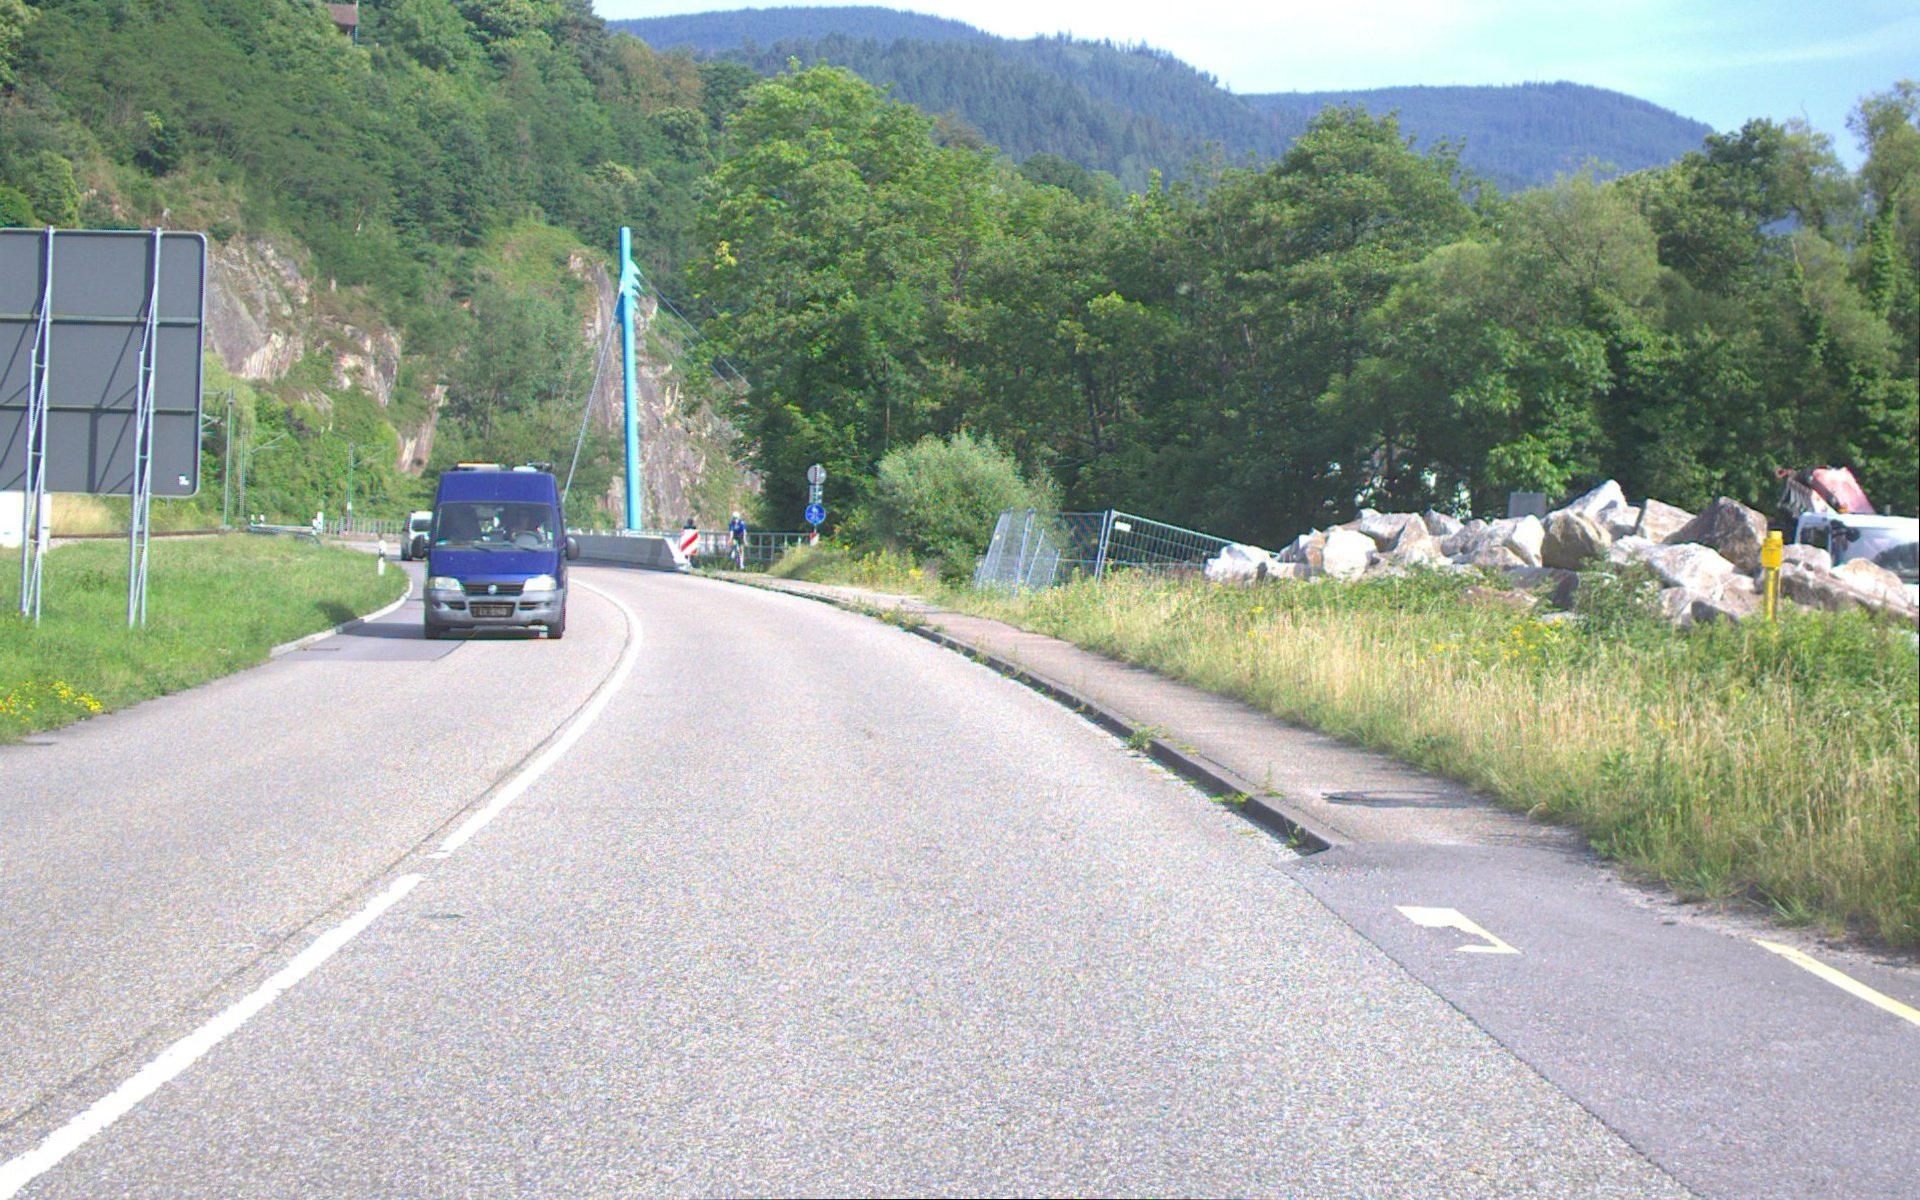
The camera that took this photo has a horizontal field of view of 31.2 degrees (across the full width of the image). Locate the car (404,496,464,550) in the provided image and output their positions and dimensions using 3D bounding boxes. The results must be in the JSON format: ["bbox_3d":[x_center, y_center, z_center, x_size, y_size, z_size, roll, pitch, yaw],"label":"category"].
[{"bbox_3d":[-19.189,-2.817,125.303,1.869,1.775,4.601,2,2,-12],"label":"car"}]

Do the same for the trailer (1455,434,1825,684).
[{"bbox_3d":[12.711,-0.776,65.522,3.364,4.259,9.912,3,0,-10],"label":"trailer"}]

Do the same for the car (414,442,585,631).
[{"bbox_3d":[-6.689,-0.953,50.458,2.126,2.606,5.480,0,1,-4],"label":"car"}]

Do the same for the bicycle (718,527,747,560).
[{"bbox_3d":[-6.964,-1.716,105.038,0.648,0.939,1.848,4,1,-10],"label":"bicycle"}]

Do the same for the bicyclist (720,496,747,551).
[{"bbox_3d":[-6.902,-2.341,104.929,0.641,1.648,0.809,4,1,-9],"label":"bicyclist"}]

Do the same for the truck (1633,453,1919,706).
[{"bbox_3d":[14.216,-0.369,56.393,3.102,3.769,8.647,3,1,-10],"label":"truck"}]
